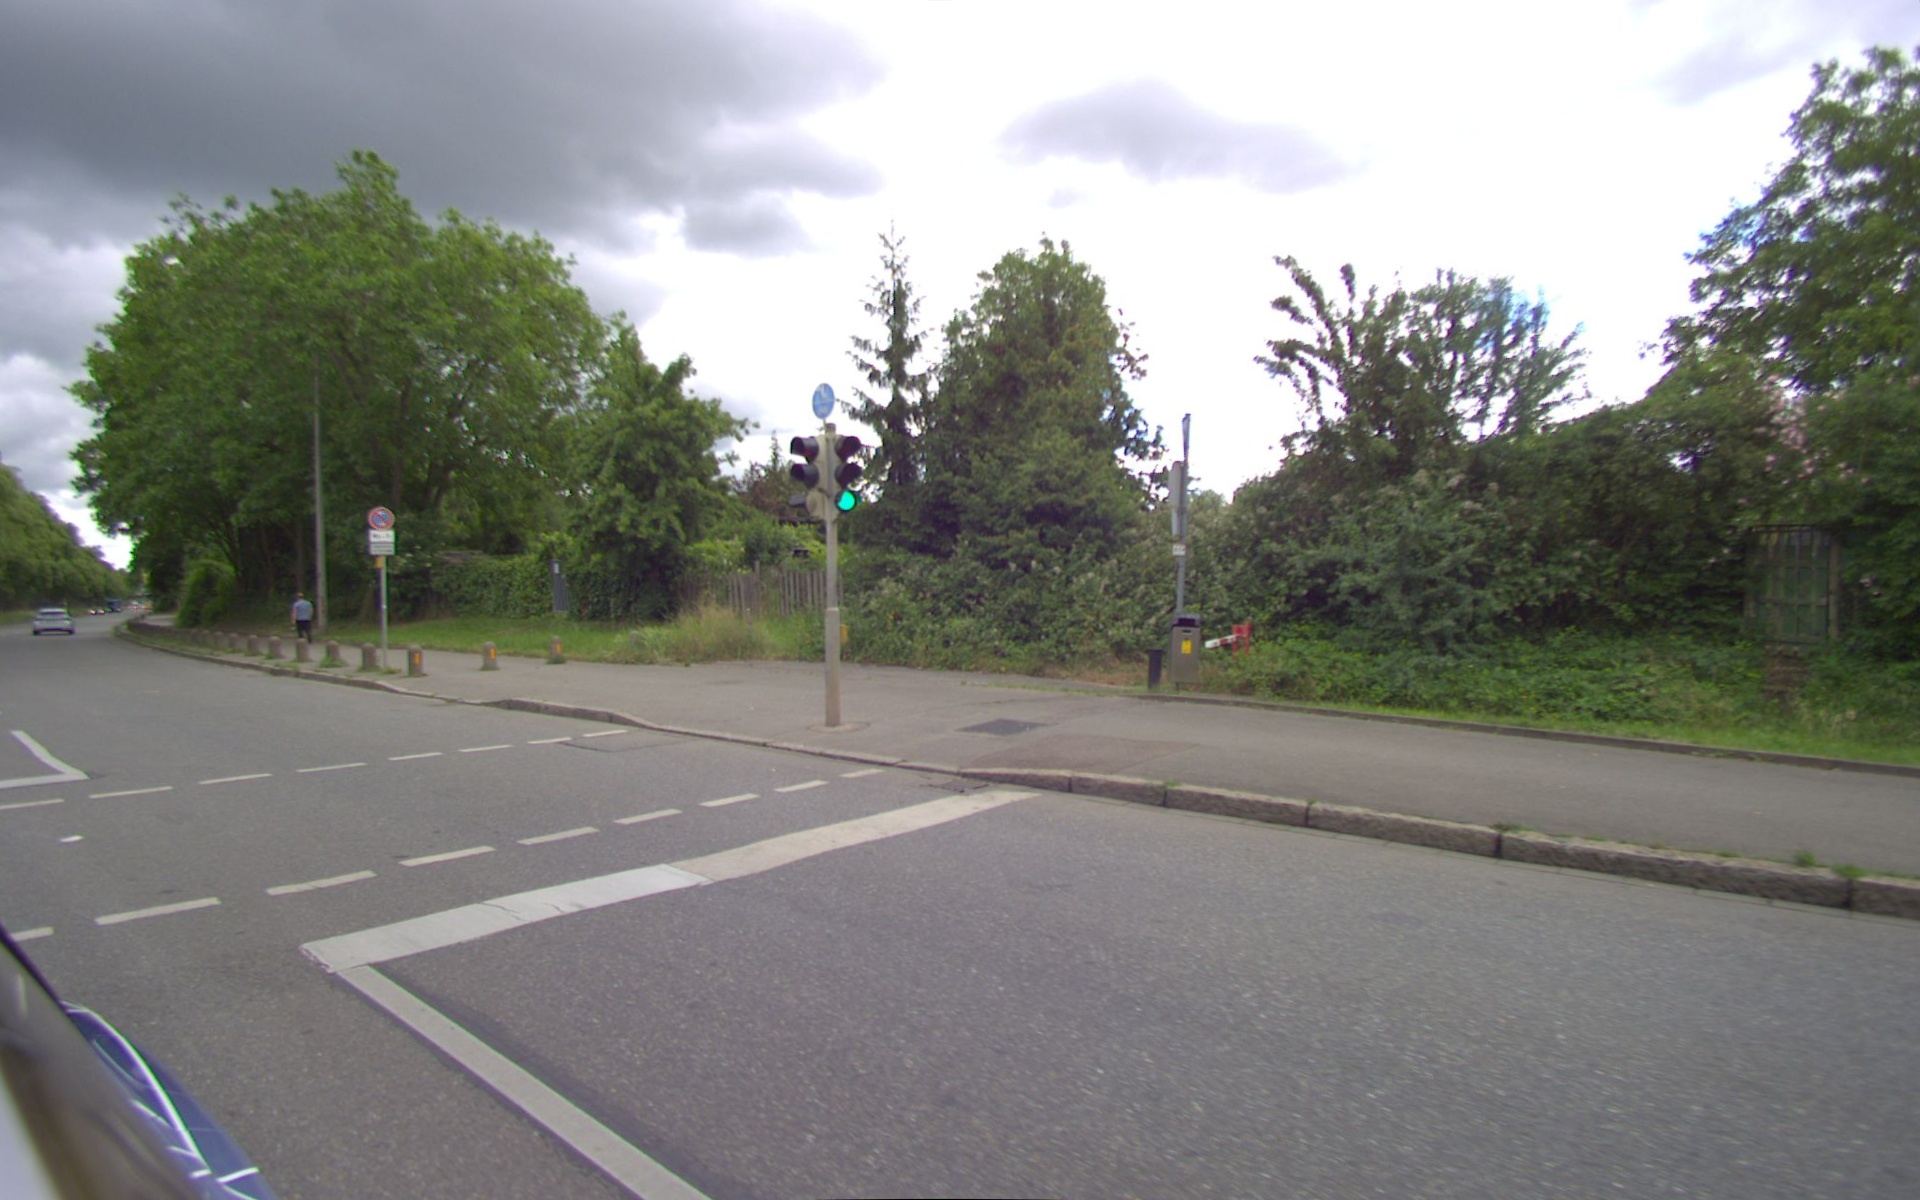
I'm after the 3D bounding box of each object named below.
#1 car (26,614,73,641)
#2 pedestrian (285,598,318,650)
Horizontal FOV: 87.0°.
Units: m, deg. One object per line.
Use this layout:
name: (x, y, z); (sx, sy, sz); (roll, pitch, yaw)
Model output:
car: (-52.199, 1.551, 58.004); (4.363, 1.450, 1.753); (-1, -1, 44)
pedestrian: (-21.303, 0.768, 32.732); (0.681, 1.646, 0.838); (-4, 1, -44)
